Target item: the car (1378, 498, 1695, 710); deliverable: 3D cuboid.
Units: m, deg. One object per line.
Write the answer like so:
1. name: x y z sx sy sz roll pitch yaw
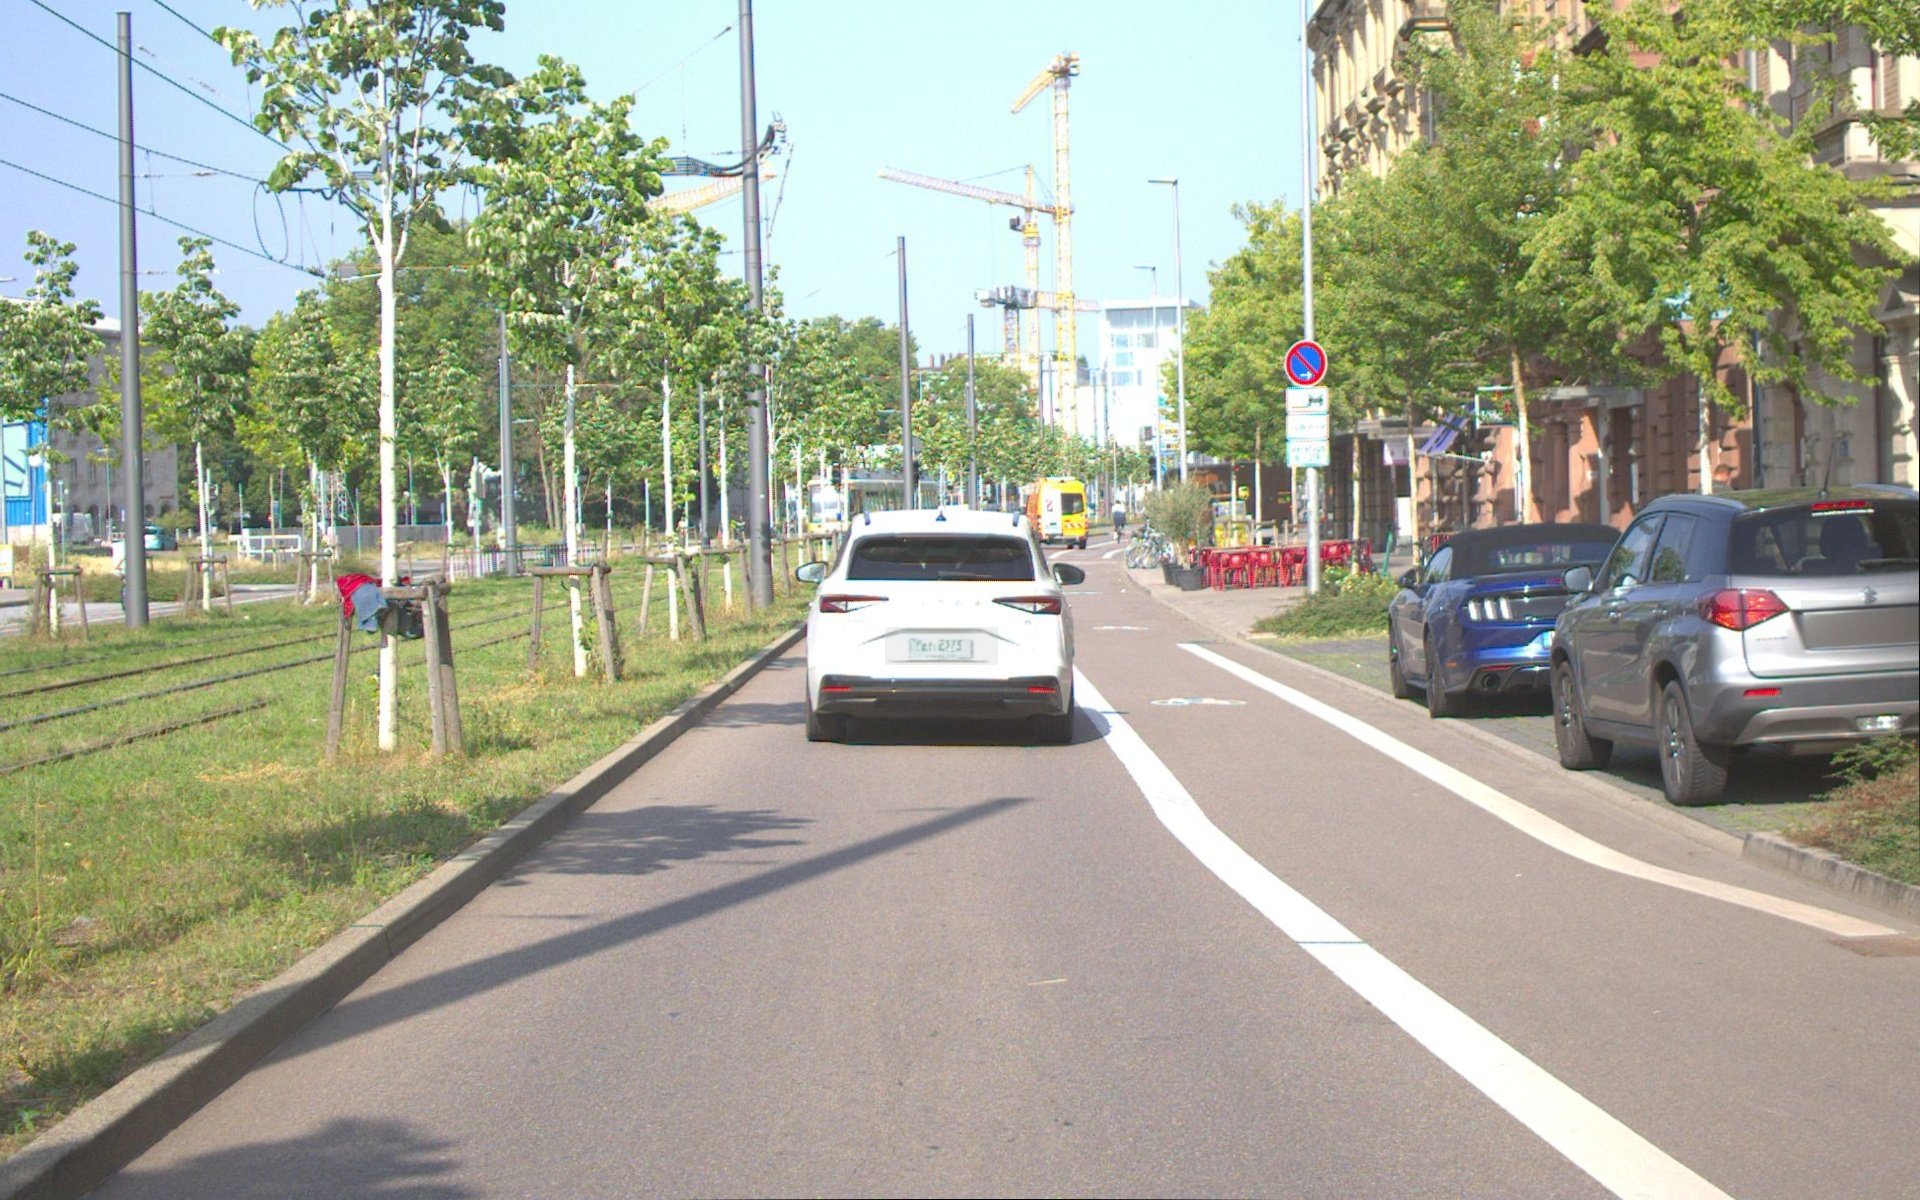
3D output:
1. car: 4.353 -0.038 26.617 1.736 1.391 4.715 -3 2 2

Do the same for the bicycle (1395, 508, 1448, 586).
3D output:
1. bicycle: 6.739 -0.780 50.120 0.505 1.056 1.712 -2 2 15

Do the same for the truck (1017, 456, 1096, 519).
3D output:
1. truck: 3.643 -4.276 131.147 2.212 2.310 5.891 -1 2 -6

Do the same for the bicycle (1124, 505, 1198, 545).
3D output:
1. bicycle: 5.408 -2.023 92.500 1.934 0.983 0.471 -3 2 2

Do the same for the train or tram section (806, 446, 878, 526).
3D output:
1. train or tram section: -5.523 -5.356 162.946 2.898 3.574 12.478 -2 1 0

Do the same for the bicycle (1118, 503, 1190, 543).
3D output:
1. bicycle: 5.424 -2.145 96.052 1.935 1.009 0.440 -3 2 5

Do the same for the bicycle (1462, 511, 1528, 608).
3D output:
1. bicycle: 6.266 -0.484 40.309 0.492 1.090 1.827 -1 2 0

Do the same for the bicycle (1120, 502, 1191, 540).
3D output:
1. bicycle: 5.487 -2.226 96.532 1.935 0.942 0.440 -3 2 5

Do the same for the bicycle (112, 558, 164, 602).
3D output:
1. bicycle: -19.177 -0.466 80.239 0.662 0.958 2.078 -3 1 0

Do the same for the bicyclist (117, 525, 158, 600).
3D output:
1. bicyclist: -19.197 -0.882 80.220 0.647 1.730 0.919 -3 1 0

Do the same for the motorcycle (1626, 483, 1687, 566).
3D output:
1. motorcycle: 10.285 -1.119 50.836 0.463 1.171 1.945 -3 2 1

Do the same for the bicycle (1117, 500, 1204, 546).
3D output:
1. bicycle: 5.307 -2.048 91.149 2.239 1.100 0.588 -3 2 2

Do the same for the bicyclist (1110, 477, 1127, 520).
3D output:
1. bicyclist: 7.044 -4.487 152.545 0.709 1.889 0.843 -1 2 2

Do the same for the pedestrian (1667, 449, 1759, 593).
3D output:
1. pedestrian: 9.107 -0.959 41.607 0.823 1.690 0.793 -3 2 -4

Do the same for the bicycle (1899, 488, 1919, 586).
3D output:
1. bicycle: 10.817 -0.692 37.686 0.450 1.079 1.449 -1 2 -9

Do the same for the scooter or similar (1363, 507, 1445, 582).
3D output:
1. scooter or similar: 7.351 -0.920 56.952 1.256 1.153 0.340 -3 1 5

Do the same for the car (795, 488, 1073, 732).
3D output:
1. car: -0.161 0.001 24.742 1.817 1.584 4.407 0 2 0

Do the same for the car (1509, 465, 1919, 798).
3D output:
1. car: 4.421 0.081 19.143 1.769 1.583 4.249 -3 2 -3

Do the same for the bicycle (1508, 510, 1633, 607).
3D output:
1. bicycle: 7.009 -0.480 39.415 0.454 1.078 1.873 -1 0 42

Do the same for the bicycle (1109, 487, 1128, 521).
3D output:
1. bicycle: 7.030 -4.272 152.713 0.781 1.491 2.801 -1 2 2

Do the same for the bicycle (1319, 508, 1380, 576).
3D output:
1. bicycle: 6.576 -0.994 58.129 0.595 1.118 1.927 -1 2 -6
